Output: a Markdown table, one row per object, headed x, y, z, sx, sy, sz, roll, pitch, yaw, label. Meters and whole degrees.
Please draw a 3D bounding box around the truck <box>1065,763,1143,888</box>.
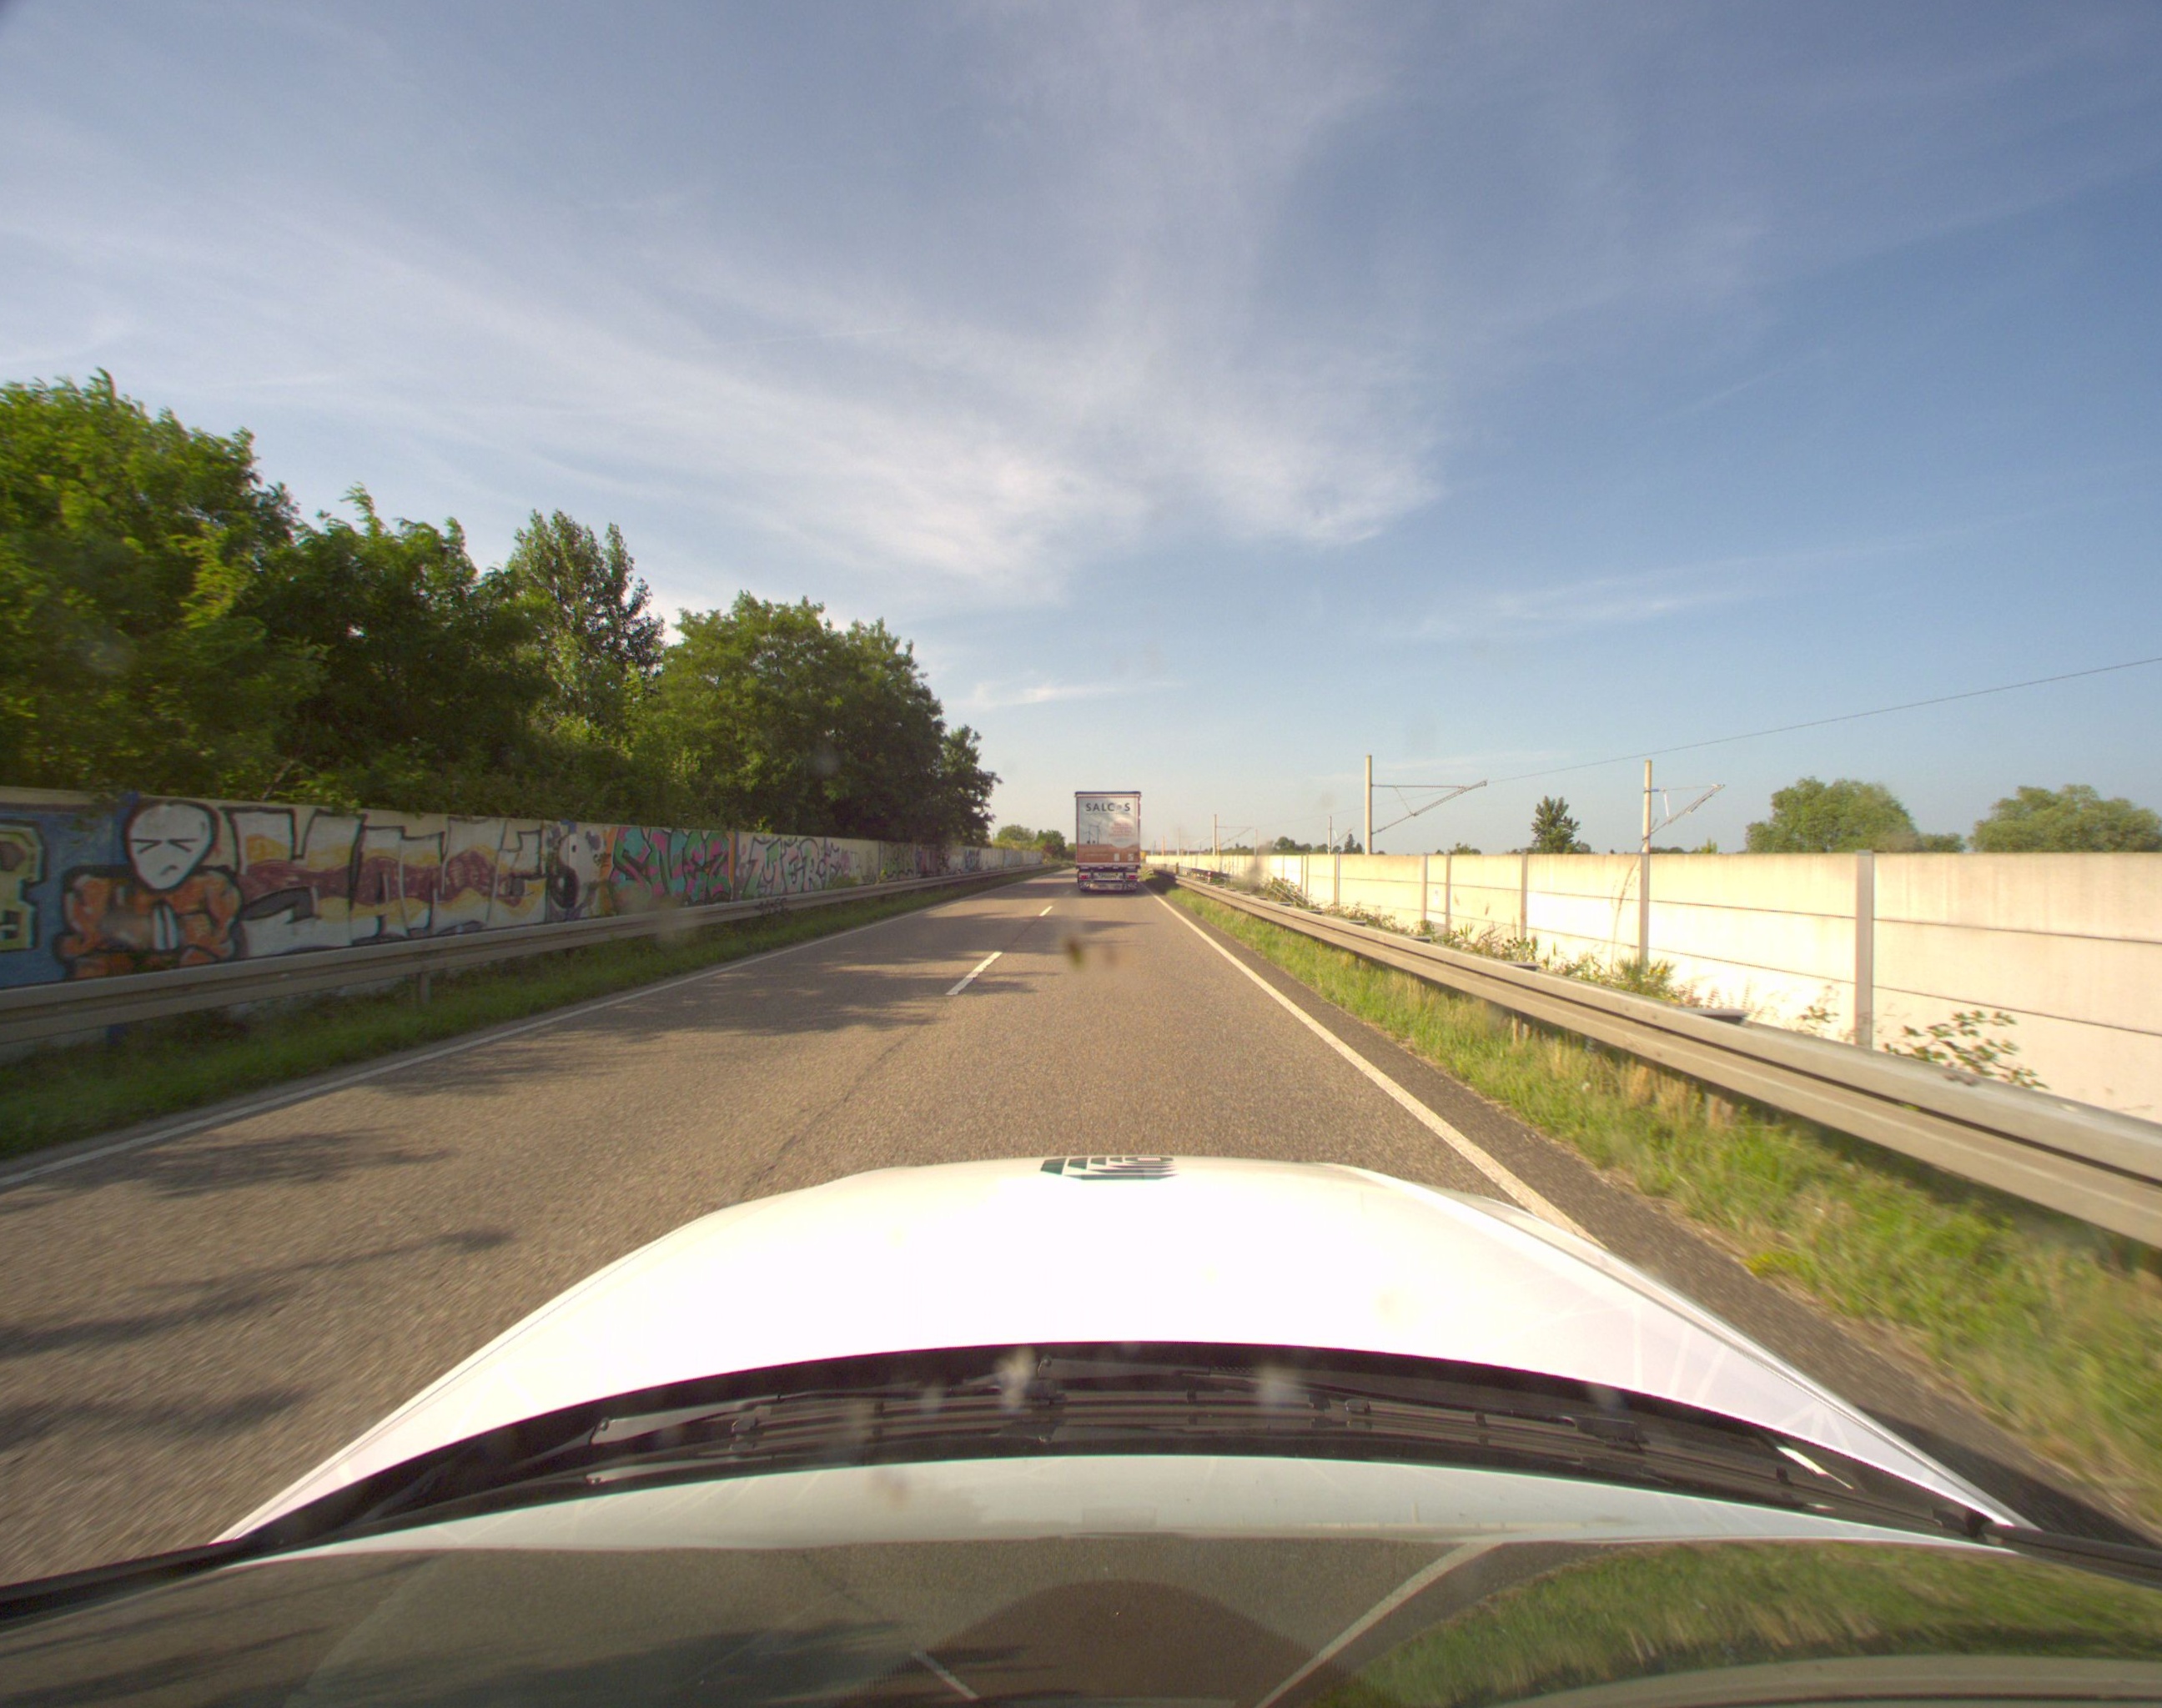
| x | y | z | sx | sy | sz | roll | pitch | yaw | label |
| --- | --- | --- | --- | --- | --- | --- | --- | --- | --- |
| 1.037 | -1.097 | 37.704 | 3.022 | 4.920 | 11.687 | 0 | 0 | 1 | truck |
